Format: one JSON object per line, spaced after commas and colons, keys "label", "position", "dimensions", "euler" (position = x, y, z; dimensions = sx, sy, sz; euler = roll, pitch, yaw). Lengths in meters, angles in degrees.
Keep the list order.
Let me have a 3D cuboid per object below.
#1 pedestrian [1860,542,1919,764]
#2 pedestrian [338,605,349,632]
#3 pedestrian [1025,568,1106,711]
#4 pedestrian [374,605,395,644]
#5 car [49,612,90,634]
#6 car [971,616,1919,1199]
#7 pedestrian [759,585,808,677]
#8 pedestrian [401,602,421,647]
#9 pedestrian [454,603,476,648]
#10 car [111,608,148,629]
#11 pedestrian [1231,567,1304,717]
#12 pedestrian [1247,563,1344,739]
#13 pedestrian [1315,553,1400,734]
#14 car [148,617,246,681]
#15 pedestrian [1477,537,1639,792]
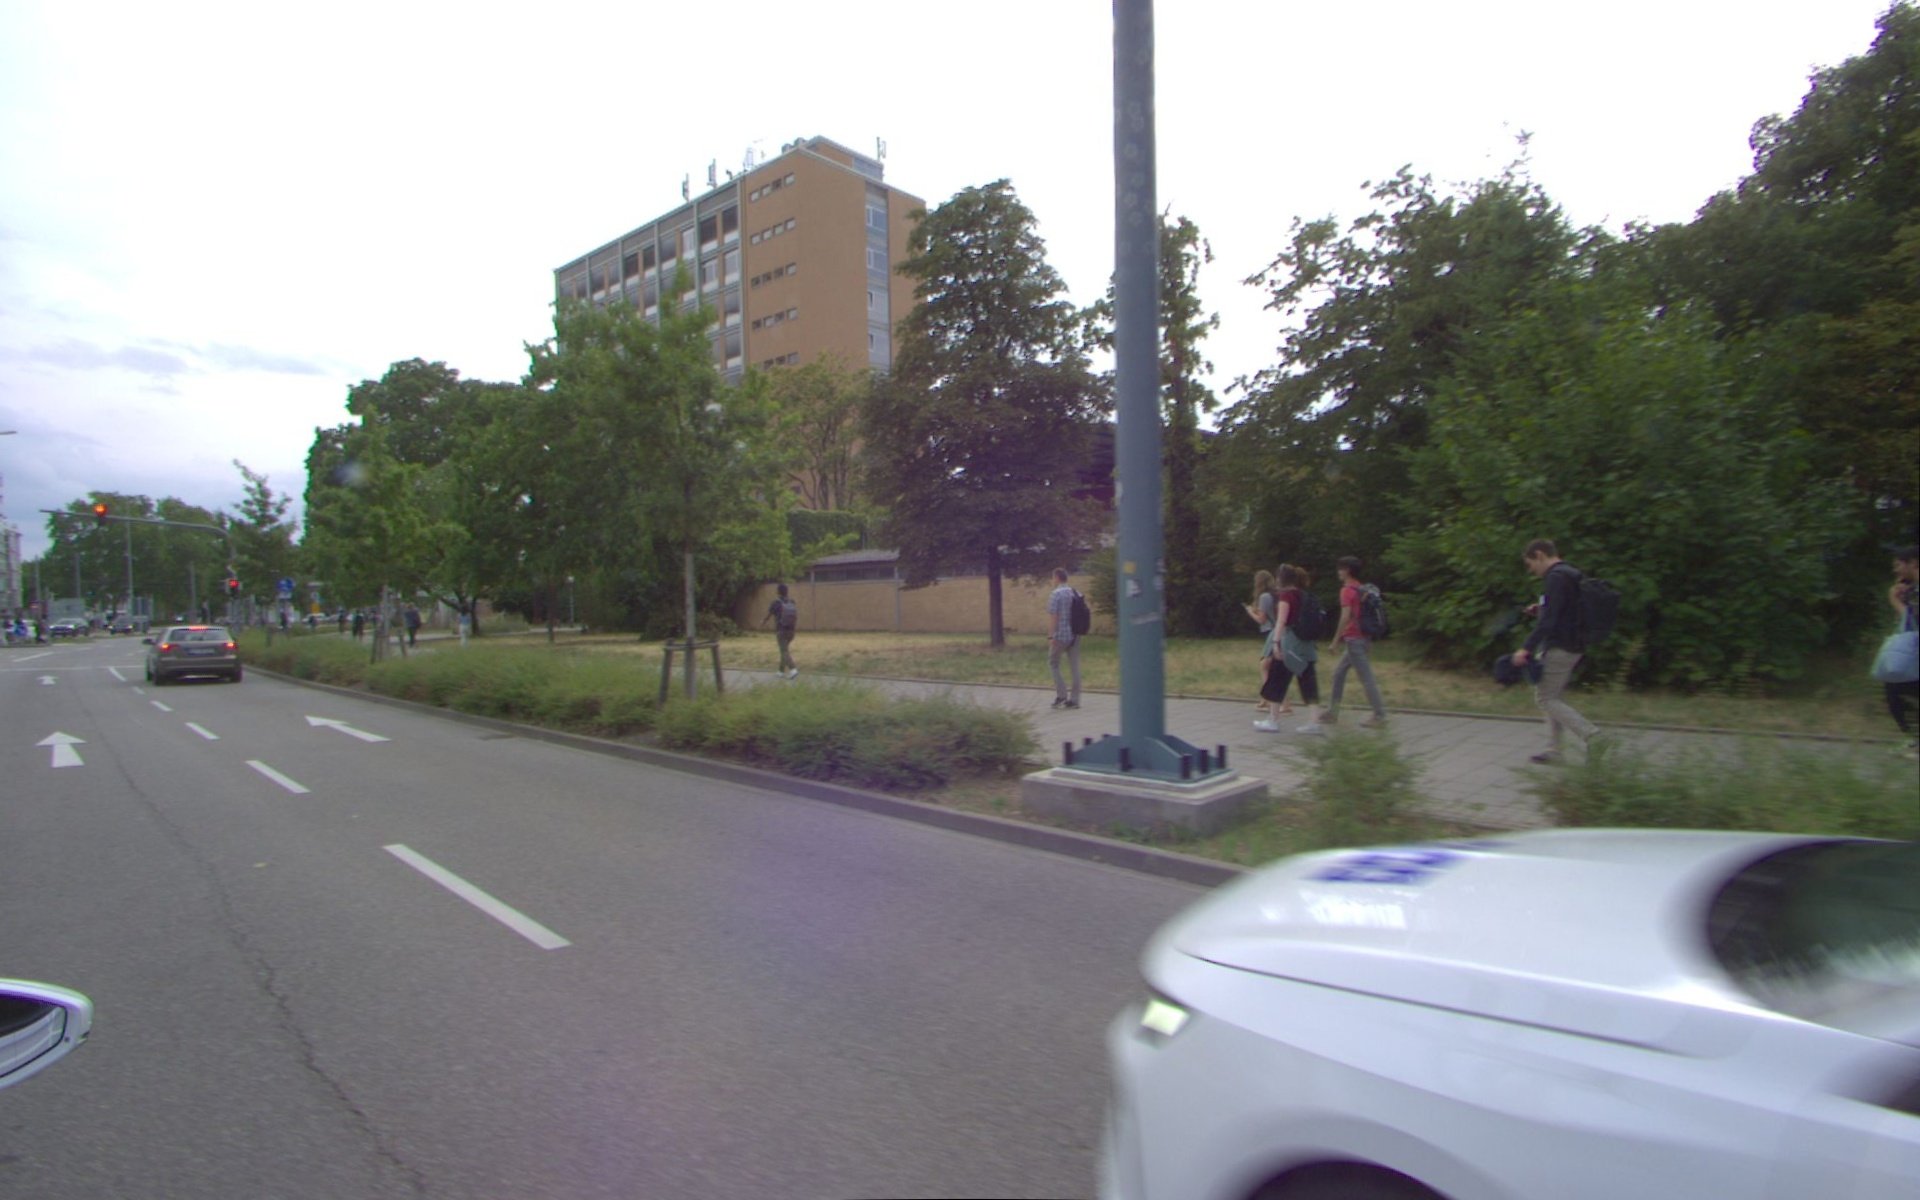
{"label": "pedestrian", "position": [7.184, 0.379, 7.378], "dimensions": [0.631, 1.605, 0.778], "euler": [-2, 1, -43]}
{"label": "pedestrian", "position": [-48.124, 1.434, 78.165], "dimensions": [0.610, 2.040, 0.591], "euler": [-1, 1, -45]}
{"label": "pedestrian", "position": [1.349, 0.489, 12.813], "dimensions": [0.614, 1.759, 0.807], "euler": [-2, 1, -43]}
{"label": "pedestrian", "position": [-25.931, 1.086, 45.108], "dimensions": [0.793, 1.736, 0.761], "euler": [-2, 1, -31]}
{"label": "car", "position": [-80.339, 2.016, 90.376], "dimensions": [1.785, 1.875, 3.982], "euler": [-1, 1, -27]}
{"label": "car", "position": [2.278, 0.765, 0.851], "dimensions": [1.728, 1.458, 4.735], "euler": [-1, 0, -44]}
{"label": "pedestrian", "position": [-3.349, 0.576, 18.998], "dimensions": [0.583, 1.705, 0.741], "euler": [-2, 1, -43]}
{"label": "pedestrian", "position": [-21.248, 0.936, 38.749], "dimensions": [0.639, 1.736, 0.559], "euler": [-2, 1, -29]}
{"label": "pedestrian", "position": [-16.794, 0.869, 33.973], "dimensions": [0.649, 1.490, 0.559], "euler": [-1, 1, -27]}
{"label": "car", "position": [-85.374, 1.846, 103.027], "dimensions": [1.969, 2.040, 3.983], "euler": [-1, 1, -26]}
{"label": "pedestrian", "position": [3.518, 0.463, 11.470], "dimensions": [0.464, 1.655, 0.647], "euler": [-2, 1, -43]}
{"label": "pedestrian", "position": [3.350, 0.487, 10.010], "dimensions": [0.552, 1.677, 0.746], "euler": [-2, 1, -43]}
{"label": "pedestrian", "position": [4.062, 0.427, 10.246], "dimensions": [0.481, 1.787, 0.657], "euler": [-2, 1, -43]}
{"label": "car", "position": [-19.812, 1.204, 25.942], "dimensions": [1.712, 1.477, 3.702], "euler": [-1, 0, -42]}
{"label": "pedestrian", "position": [4.671, 0.467, 7.834], "dimensions": [0.688, 1.846, 0.945], "euler": [-2, 1, -43]}
